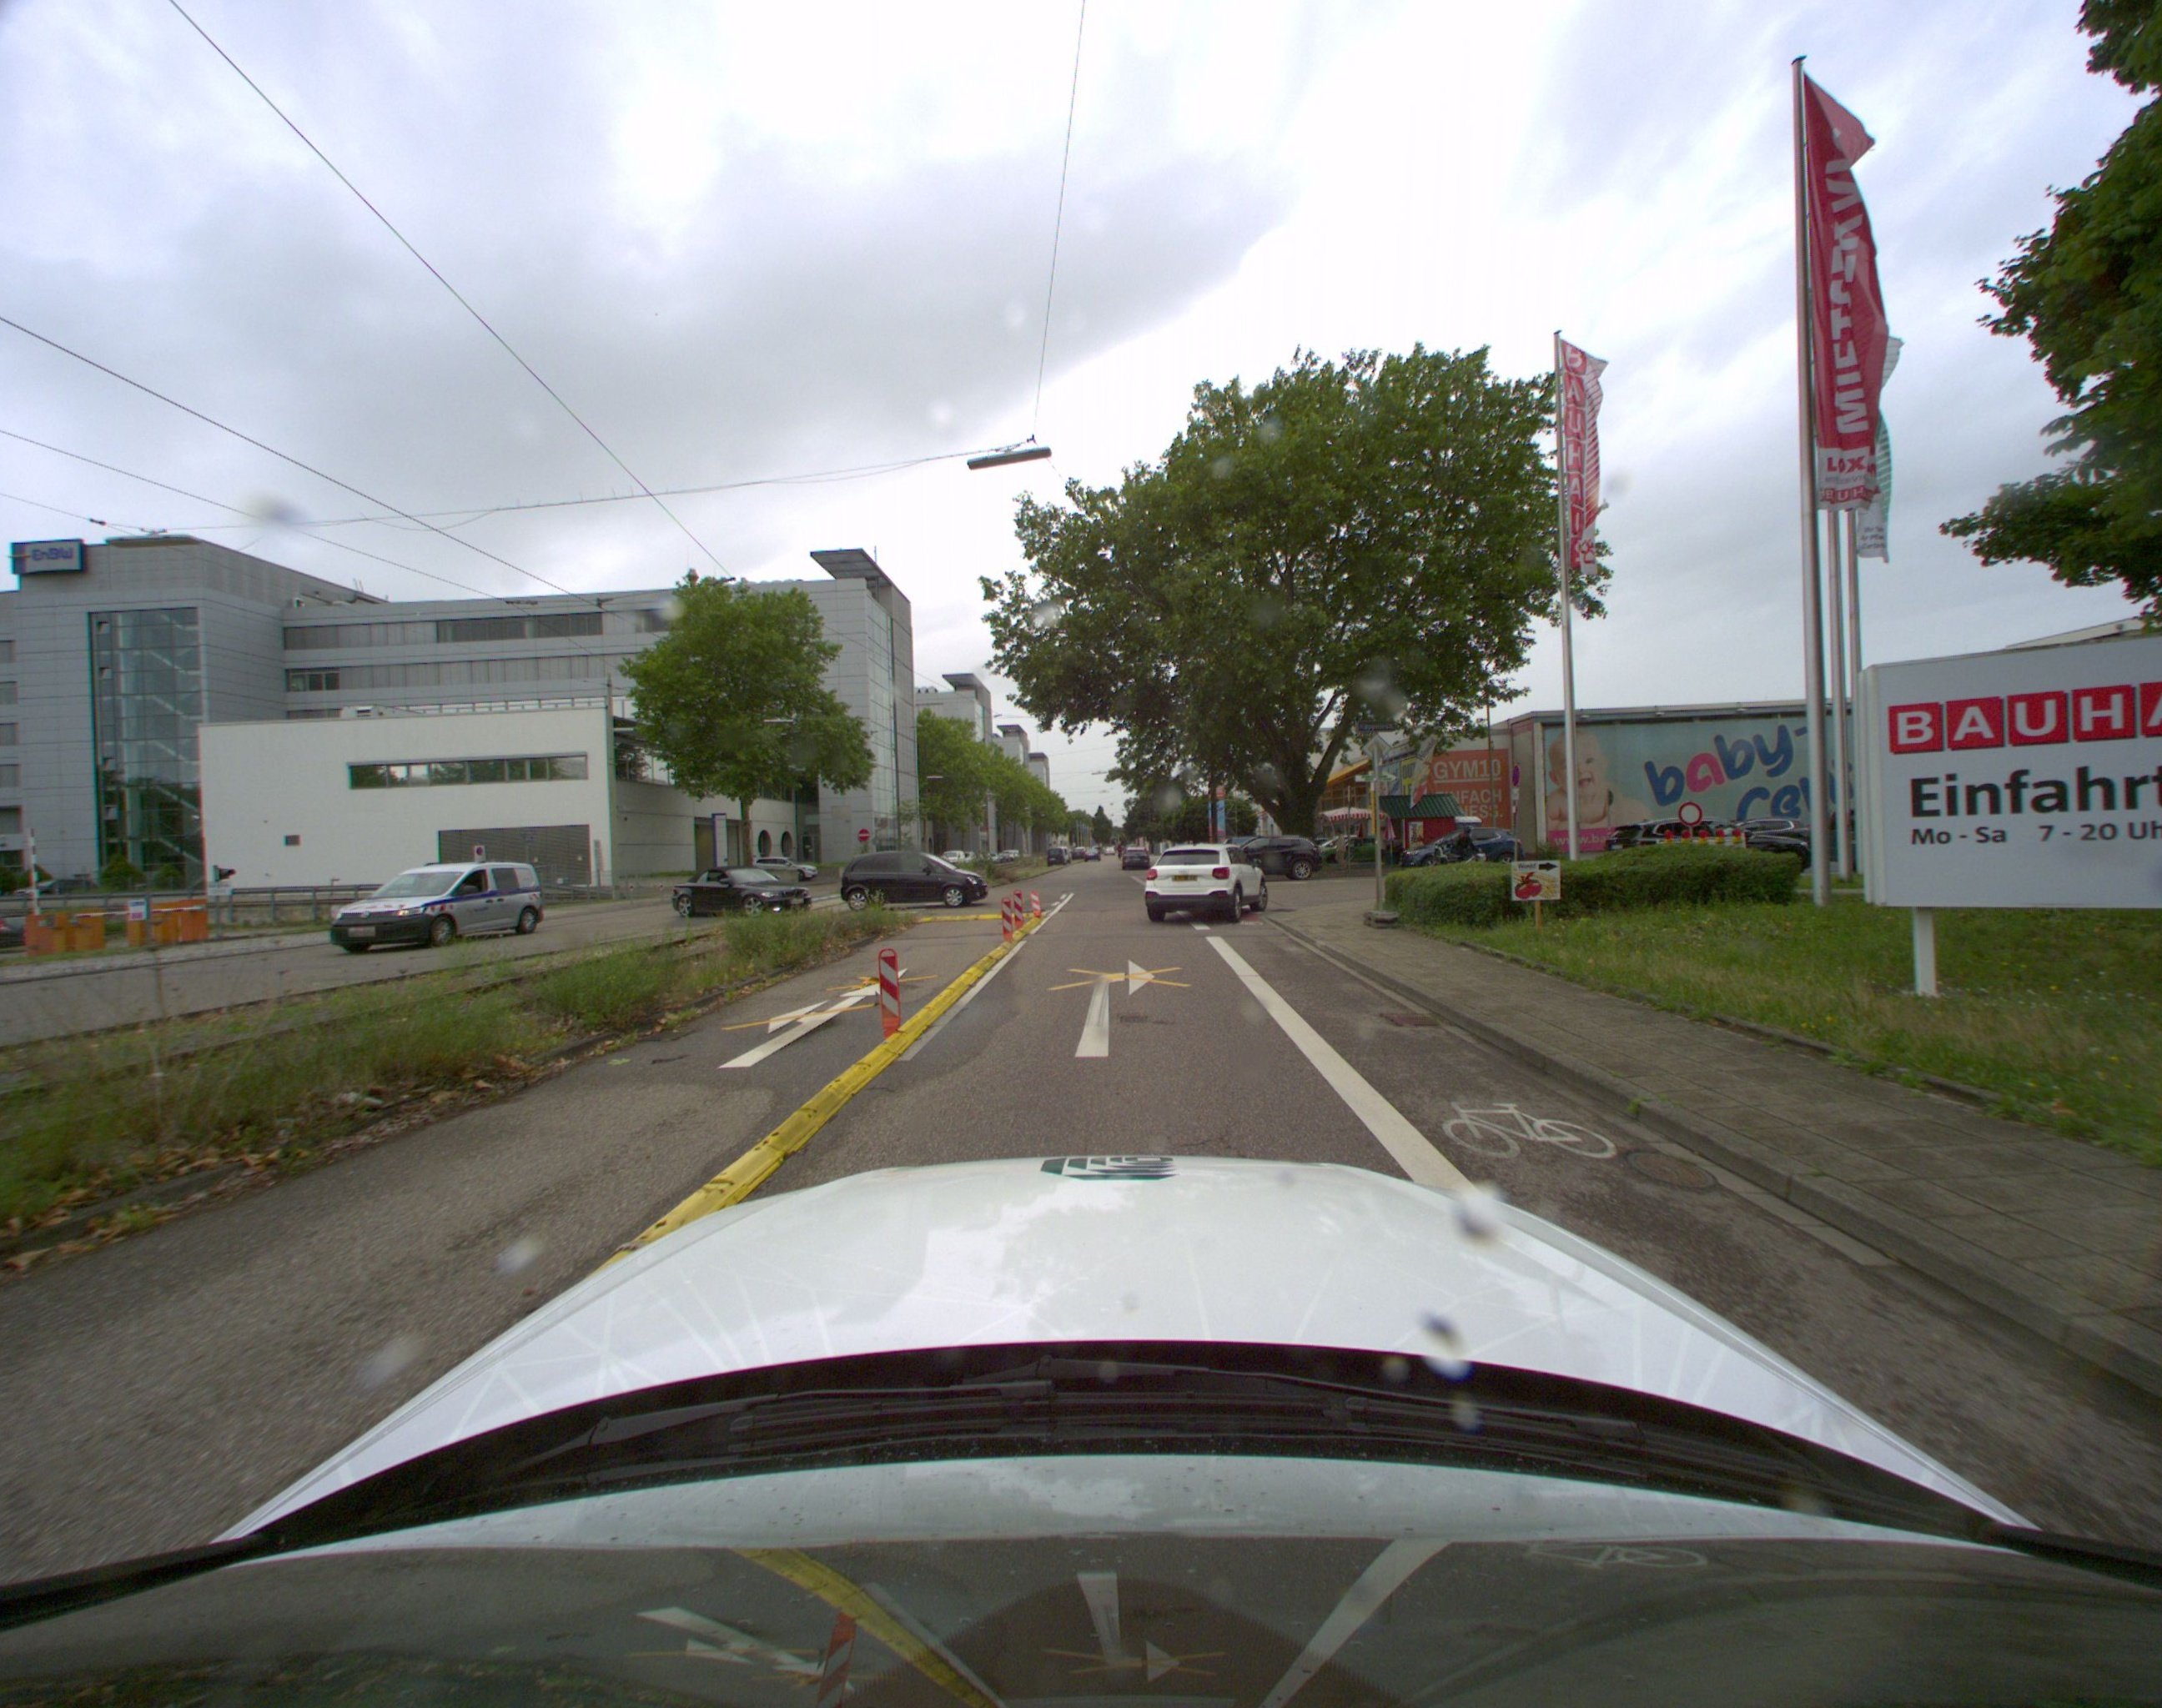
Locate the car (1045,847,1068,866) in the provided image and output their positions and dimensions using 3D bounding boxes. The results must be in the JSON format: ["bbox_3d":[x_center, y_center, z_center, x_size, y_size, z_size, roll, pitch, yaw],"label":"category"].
[{"bbox_3d":[-2.273,0.194,77.512,1.870,1.632,4.002,-3,0,2],"label":"car"}]

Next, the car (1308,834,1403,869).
[{"bbox_3d":[13.910,-0.152,41.452,4.199,1.551,1.790,-3,0,0],"label":"car"}]

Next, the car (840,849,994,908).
[{"bbox_3d":[-4.502,0.666,22.744,3.867,1.556,1.827,-1,0,2],"label":"car"}]

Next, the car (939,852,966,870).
[{"bbox_3d":[-13.072,0.667,82.995,1.870,1.632,4.207,-3,0,2],"label":"car"}]

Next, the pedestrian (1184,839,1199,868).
[{"bbox_3d":[6.592,-0.046,48.577,0.758,1.704,0.681,-3,0,-2],"label":"pedestrian"}]

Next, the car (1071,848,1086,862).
[{"bbox_3d":[-0.284,0.085,111.705,1.870,1.763,4.002,-3,0,2],"label":"car"}]

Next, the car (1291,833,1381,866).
[{"bbox_3d":[13.600,-0.253,43.615,4.199,1.551,1.790,-3,0,0],"label":"car"}]

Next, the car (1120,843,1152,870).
[{"bbox_3d":[3.584,0.131,53.392,1.870,1.632,4.002,-3,0,2],"label":"car"}]

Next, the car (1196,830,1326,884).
[{"bbox_3d":[6.436,0.098,29.521,4.296,1.677,1.994,-3,0,3],"label":"car"}]

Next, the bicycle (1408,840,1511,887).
[{"bbox_3d":[10.866,0.265,23.415,2.675,1.212,0.816,-3,0,-11],"label":"bicycle"}]

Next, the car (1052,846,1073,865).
[{"bbox_3d":[-1.891,0.115,83.322,1.870,1.763,4.002,-3,0,2],"label":"car"}]

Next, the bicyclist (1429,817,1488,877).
[{"bbox_3d":[10.842,-0.199,23.412,1.231,1.630,0.816,-3,0,-11],"label":"bicyclist"}]

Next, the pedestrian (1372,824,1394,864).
[{"bbox_3d":[13.409,-0.441,36.211,0.677,1.704,0.598,-3,0,1],"label":"pedestrian"}]

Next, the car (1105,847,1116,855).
[{"bbox_3d":[5.468,-0.584,150.911,1.789,1.513,3.706,-1,1,0],"label":"car"}]

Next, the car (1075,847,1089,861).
[{"bbox_3d":[0.180,-0.008,116.907,1.870,1.763,4.002,-3,0,2],"label":"car"}]

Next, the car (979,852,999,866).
[{"bbox_3d":[-11.506,0.634,101.819,1.870,1.632,4.207,-3,0,2],"label":"car"}]

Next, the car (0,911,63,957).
[{"bbox_3d":[-40.495,3.012,29.811,3.974,1.485,1.913,-3,0,0],"label":"car"}]

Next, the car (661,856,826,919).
[{"bbox_3d":[-9.236,0.918,22.282,4.079,1.475,1.836,-4,-2,25],"label":"car"}]

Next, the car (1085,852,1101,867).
[{"bbox_3d":[1.354,0.605,93.231,1.678,1.513,3.706,-1,1,0],"label":"car"}]

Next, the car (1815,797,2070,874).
[{"bbox_3d":[22.954,-0.504,21.854,4.534,1.790,2.075,-2,1,3],"label":"car"}]

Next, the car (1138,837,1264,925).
[{"bbox_3d":[2.606,0.462,16.890,1.808,1.600,3.795,-1,1,20],"label":"car"}]

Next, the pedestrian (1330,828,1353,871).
[{"bbox_3d":[10.769,-0.187,33.688,0.677,1.704,0.598,-3,0,1],"label":"pedestrian"}]

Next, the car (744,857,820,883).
[{"bbox_3d":[-20.472,1.078,55.880,4.497,1.670,1.825,-1,0,0],"label":"car"}]

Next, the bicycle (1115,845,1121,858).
[{"bbox_3d":[4.188,-0.272,92.334,0.668,1.393,2.167,-1,1,0],"label":"bicycle"}]

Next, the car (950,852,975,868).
[{"bbox_3d":[-12.850,0.645,88.395,1.870,1.632,4.207,-3,0,2],"label":"car"}]

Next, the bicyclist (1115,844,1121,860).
[{"bbox_3d":[4.186,-0.272,92.484,0.668,1.815,0.760,-1,1,0],"label":"bicyclist"}]

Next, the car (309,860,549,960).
[{"bbox_3d":[-14.022,1.095,17.931,1.815,1.783,4.421,-3,0,-3],"label":"car"}]

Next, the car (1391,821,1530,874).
[{"bbox_3d":[13.769,-0.237,29.787,4.186,1.677,1.999,-3,0,10],"label":"car"}]

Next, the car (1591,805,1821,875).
[{"bbox_3d":[16.533,-0.348,21.746,4.534,1.572,1.994,-3,0,3],"label":"car"}]

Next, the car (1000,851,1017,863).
[{"bbox_3d":[-10.860,0.487,121.991,1.870,1.632,4.207,-3,0,2],"label":"car"}]
